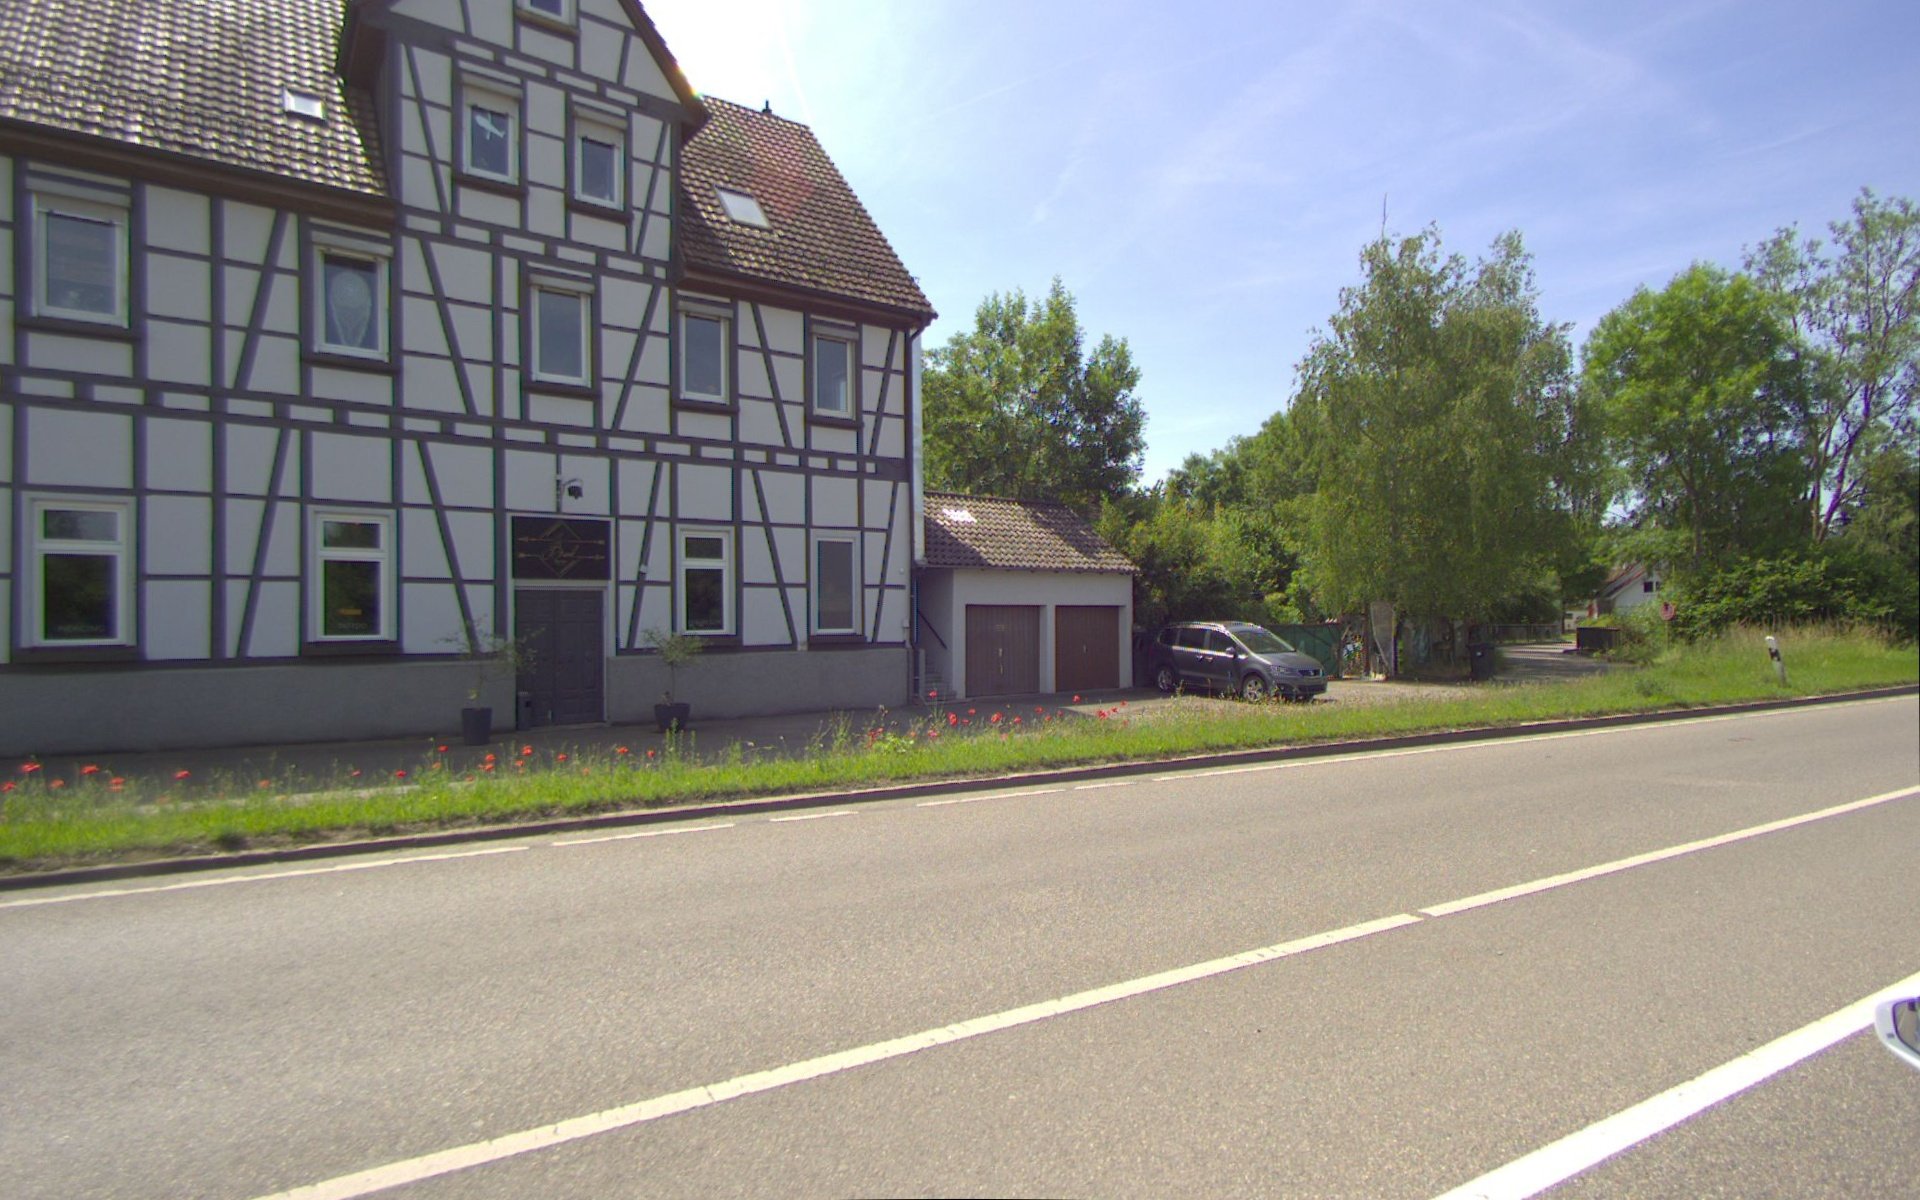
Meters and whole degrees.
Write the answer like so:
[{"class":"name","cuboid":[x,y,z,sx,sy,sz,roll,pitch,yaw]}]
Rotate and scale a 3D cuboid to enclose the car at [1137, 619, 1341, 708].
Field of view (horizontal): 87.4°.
[{"class":"car","cuboid":[6.512,1.401,23.939,1.842,1.743,4.634,-2,1,-34]}]
